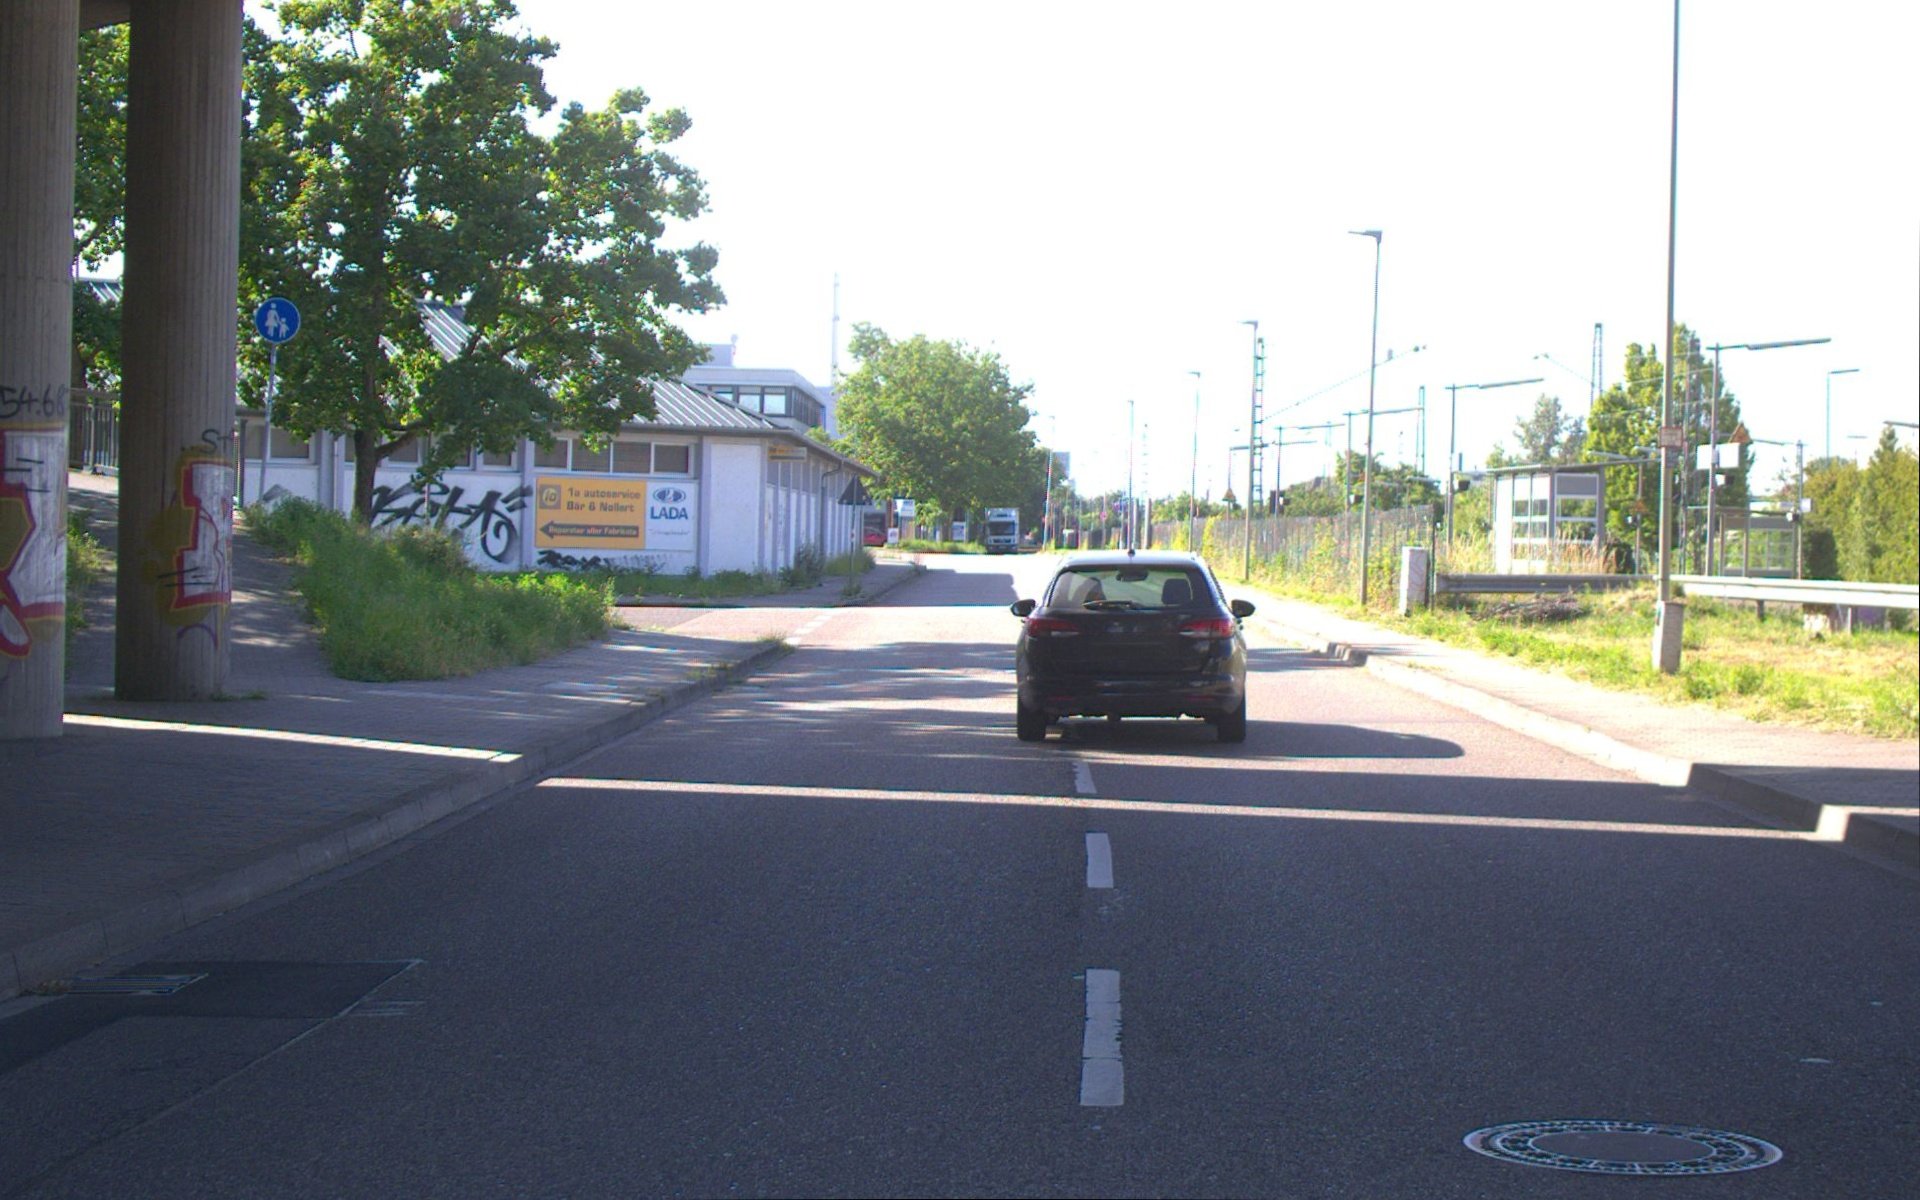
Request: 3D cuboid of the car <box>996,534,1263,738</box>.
[{"bbox_3d":[1.267,0.222,27.558,1.942,1.483,4.565,0,1,1],"label":"car"}]
